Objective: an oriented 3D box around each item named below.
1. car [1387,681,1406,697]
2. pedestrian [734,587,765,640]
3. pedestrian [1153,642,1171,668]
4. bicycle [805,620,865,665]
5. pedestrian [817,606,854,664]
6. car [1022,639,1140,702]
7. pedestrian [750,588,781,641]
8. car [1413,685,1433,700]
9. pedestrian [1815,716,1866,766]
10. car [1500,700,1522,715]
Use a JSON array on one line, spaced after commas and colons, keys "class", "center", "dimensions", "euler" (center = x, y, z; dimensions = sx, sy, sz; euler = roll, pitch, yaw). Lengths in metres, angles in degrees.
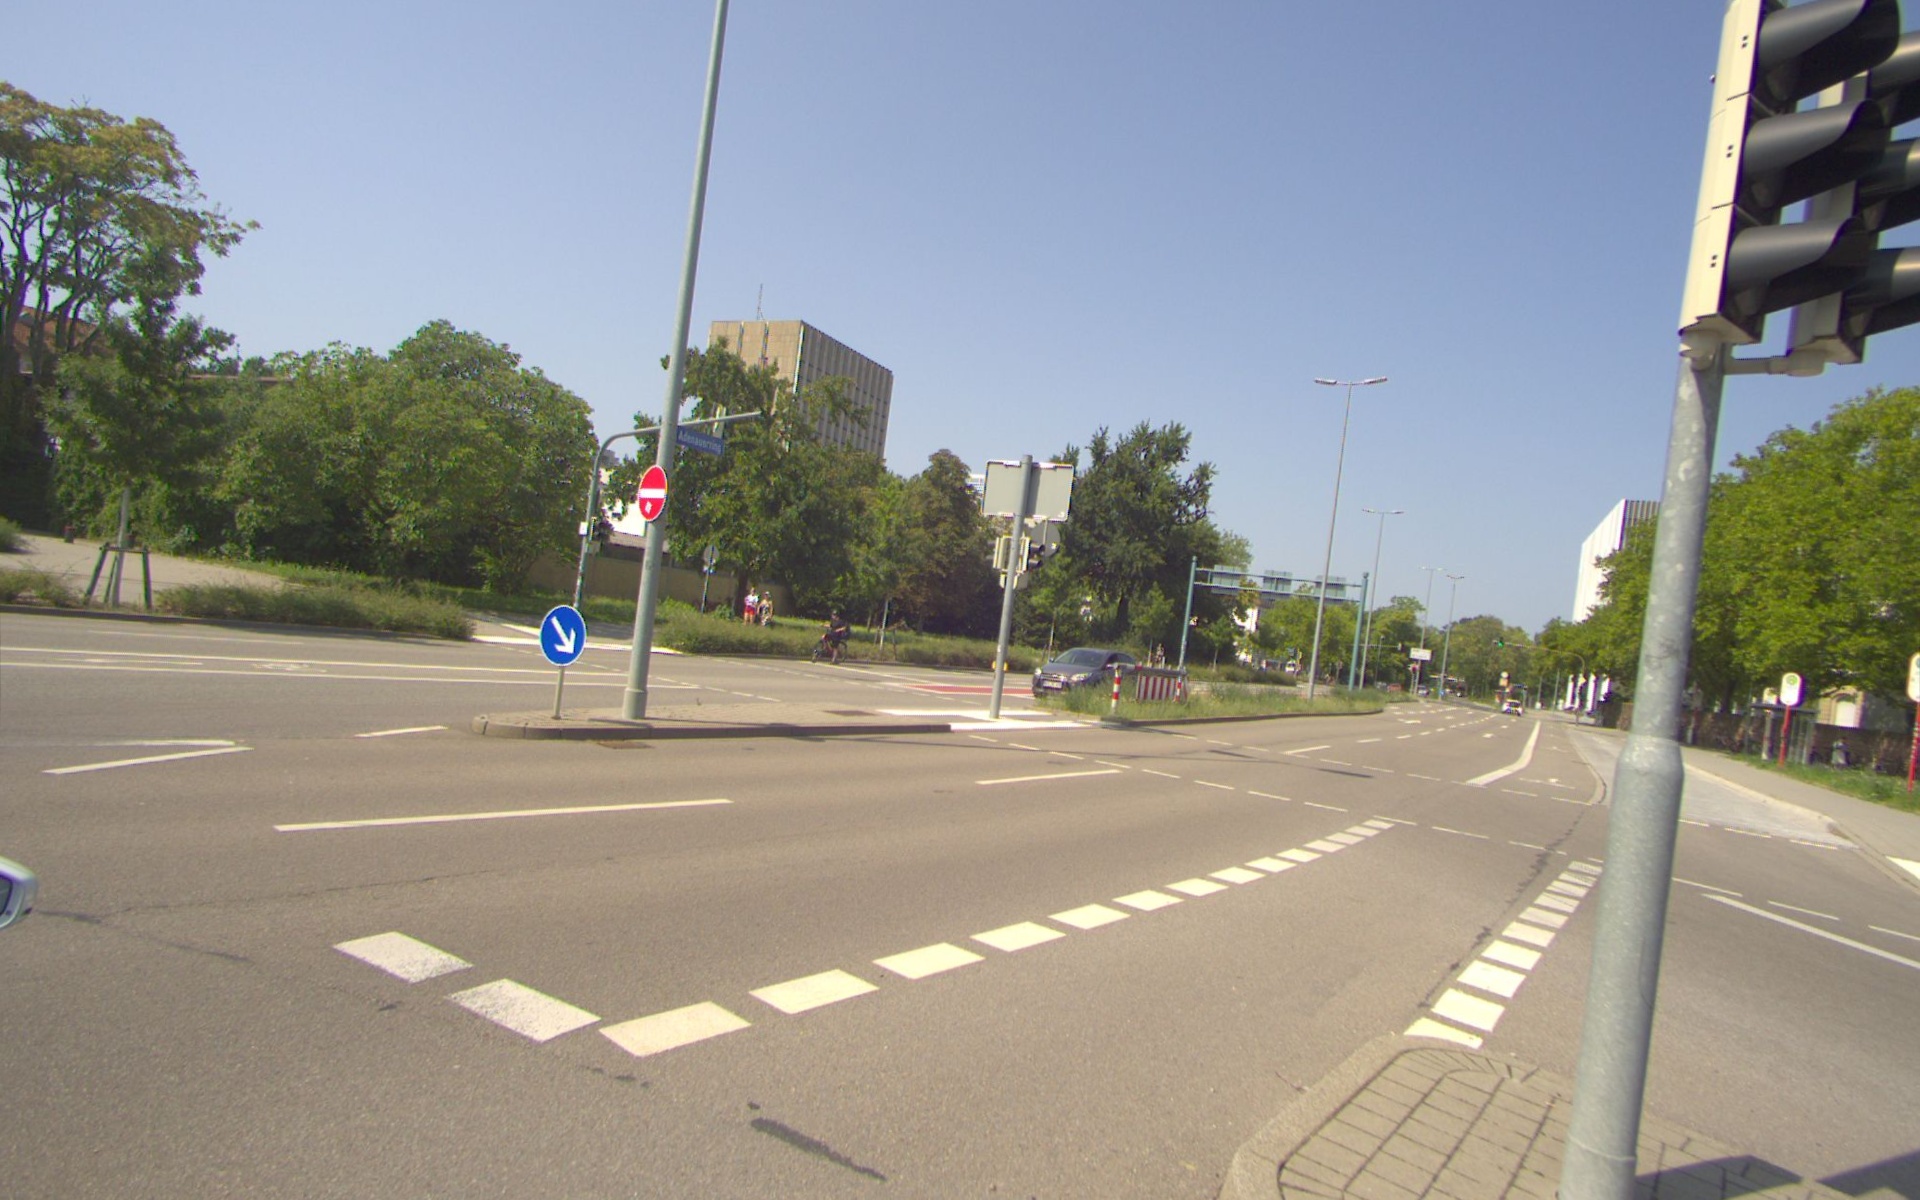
[{"class": "car", "center": [62.541, 12.740, 144.174], "dimensions": [2.048, 1.940, 4.191], "euler": [7, -1, 28]}, {"class": "pedestrian", "center": [-7.639, 0.491, 36.553], "dimensions": [0.682, 1.793, 0.586], "euler": [7, 0, 32]}, {"class": "pedestrian", "center": [14.579, 3.974, 72.629], "dimensions": [0.781, 1.790, 0.825], "euler": [7, 0, 32]}, {"class": "bicycle", "center": [-3.867, 1.332, 31.237], "dimensions": [0.773, 1.227, 1.786], "euler": [7, -1, 32]}, {"class": "pedestrian", "center": [-3.863, 1.095, 31.197], "dimensions": [0.768, 1.689, 0.548], "euler": [7, 0, 32]}, {"class": "car", "center": [3.265, 1.894, 26.640], "dimensions": [1.762, 1.373, 3.419], "euler": [5, -2, 31]}, {"class": "pedestrian", "center": [-7.009, 0.529, 36.188], "dimensions": [0.682, 1.793, 0.586], "euler": [7, 0, 32]}, {"class": "car", "center": [64.545, 12.866, 140.120], "dimensions": [1.967, 1.698, 3.994], "euler": [7, -1, 31]}, {"class": "pedestrian", "center": [40.579, 6.498, 46.403], "dimensions": [1.052, 2.038, 1.235], "euler": [8, 1, 8]}, {"class": "car", "center": [53.622, 10.460, 97.886], "dimensions": [1.564, 1.150, 3.258], "euler": [8, 0, 31]}]
